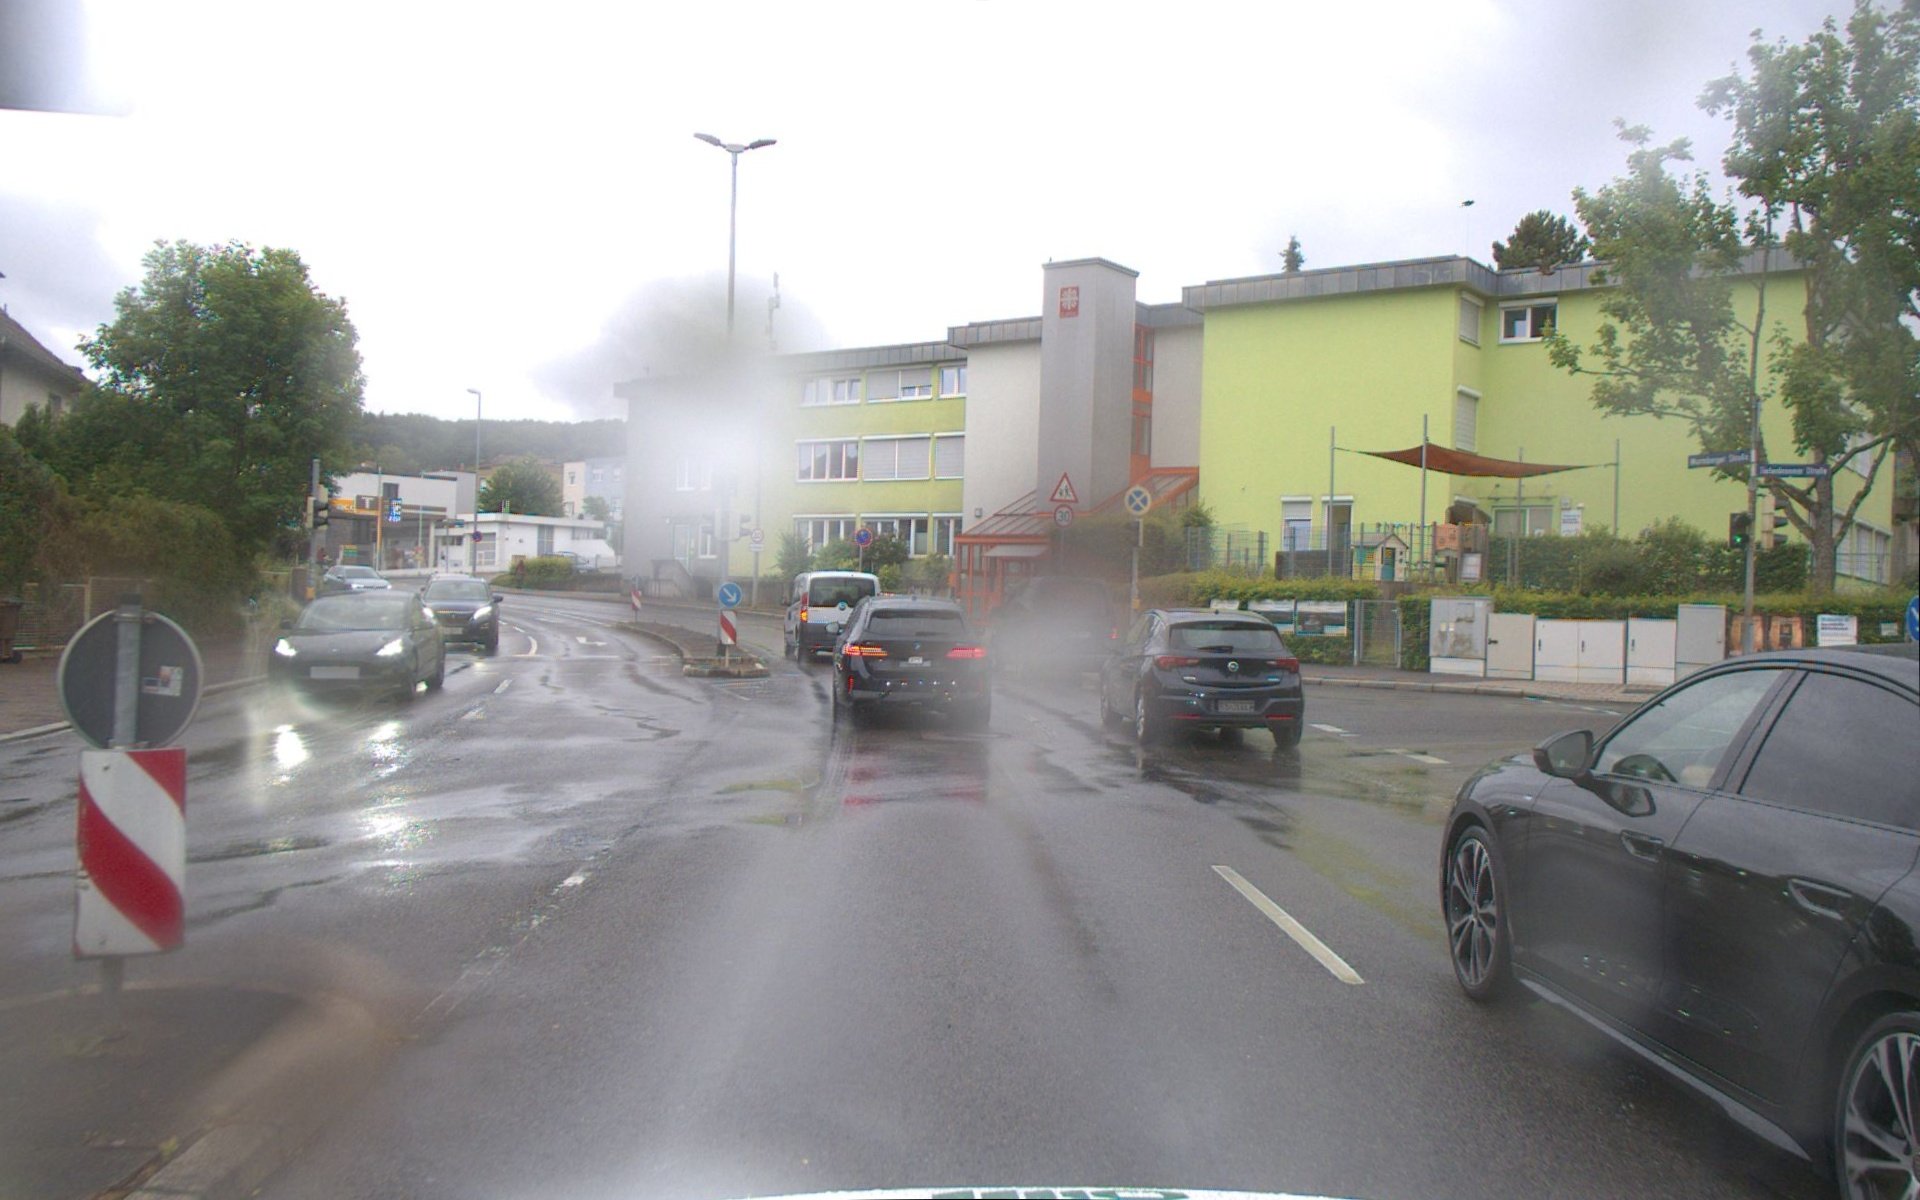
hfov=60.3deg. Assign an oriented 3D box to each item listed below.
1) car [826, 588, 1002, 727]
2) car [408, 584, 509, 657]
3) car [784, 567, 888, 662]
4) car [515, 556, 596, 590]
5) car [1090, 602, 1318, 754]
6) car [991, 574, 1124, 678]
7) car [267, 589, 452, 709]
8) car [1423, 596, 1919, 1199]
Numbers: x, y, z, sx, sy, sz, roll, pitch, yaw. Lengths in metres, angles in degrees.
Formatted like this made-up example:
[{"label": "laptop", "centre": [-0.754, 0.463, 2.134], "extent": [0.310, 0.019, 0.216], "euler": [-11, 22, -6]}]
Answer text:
[{"label": "car", "centre": [-0.660, 0.640, 20.393], "extent": [1.652, 1.532, 3.765], "euler": [1, 0, -10]}, {"label": "car", "centre": [-11.621, 0.441, 38.543], "extent": [1.816, 1.592, 3.990], "euler": [0, 0, -11]}, {"label": "car", "centre": [-2.698, 0.255, 35.216], "extent": [1.687, 1.876, 4.075], "euler": [-1, 1, -12]}, {"label": "car", "centre": [-22.618, -1.510, 92.517], "extent": [4.324, 1.803, 1.991], "euler": [-1, 0, -17]}, {"label": "car", "centre": [2.705, 0.820, 19.275], "extent": [1.813, 1.512, 4.084], "euler": [1, 1, -4]}, {"label": "car", "centre": [1.715, 0.413, 30.330], "extent": [1.749, 1.764, 4.081], "euler": [-1, 1, -7]}, {"label": "car", "centre": [-8.354, 0.615, 23.348], "extent": [1.760, 1.515, 4.143], "euler": [-1, 0, -11]}, {"label": "car", "centre": [2.870, 0.753, 4.728], "extent": [1.672, 1.452, 4.507], "euler": [1, 1, -2]}]
